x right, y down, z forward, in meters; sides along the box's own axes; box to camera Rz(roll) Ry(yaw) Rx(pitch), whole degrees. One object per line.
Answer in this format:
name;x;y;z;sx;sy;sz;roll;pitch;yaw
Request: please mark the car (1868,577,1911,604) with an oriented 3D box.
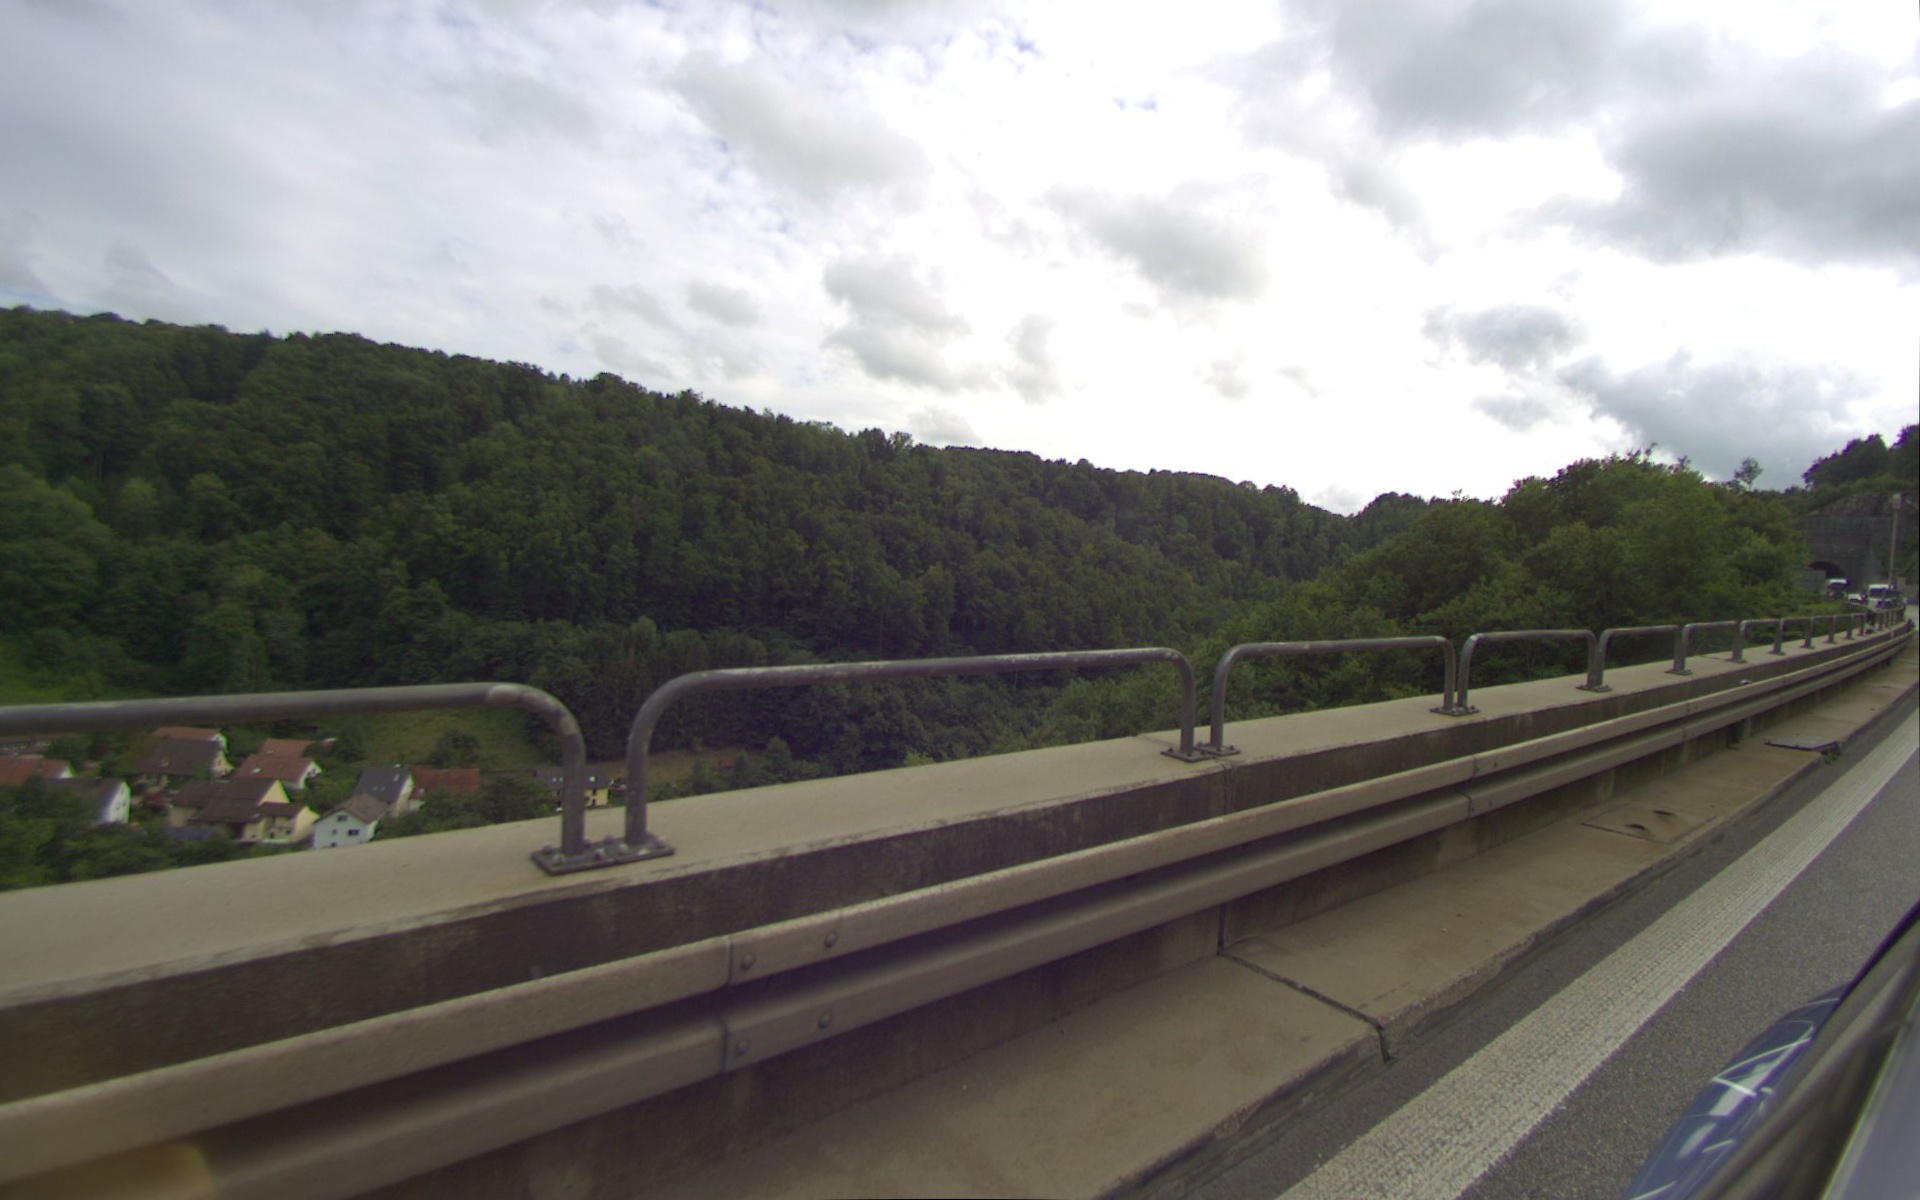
car;88.616;-0.879;96.553;2.663;2.453;6.033;0;0;39
